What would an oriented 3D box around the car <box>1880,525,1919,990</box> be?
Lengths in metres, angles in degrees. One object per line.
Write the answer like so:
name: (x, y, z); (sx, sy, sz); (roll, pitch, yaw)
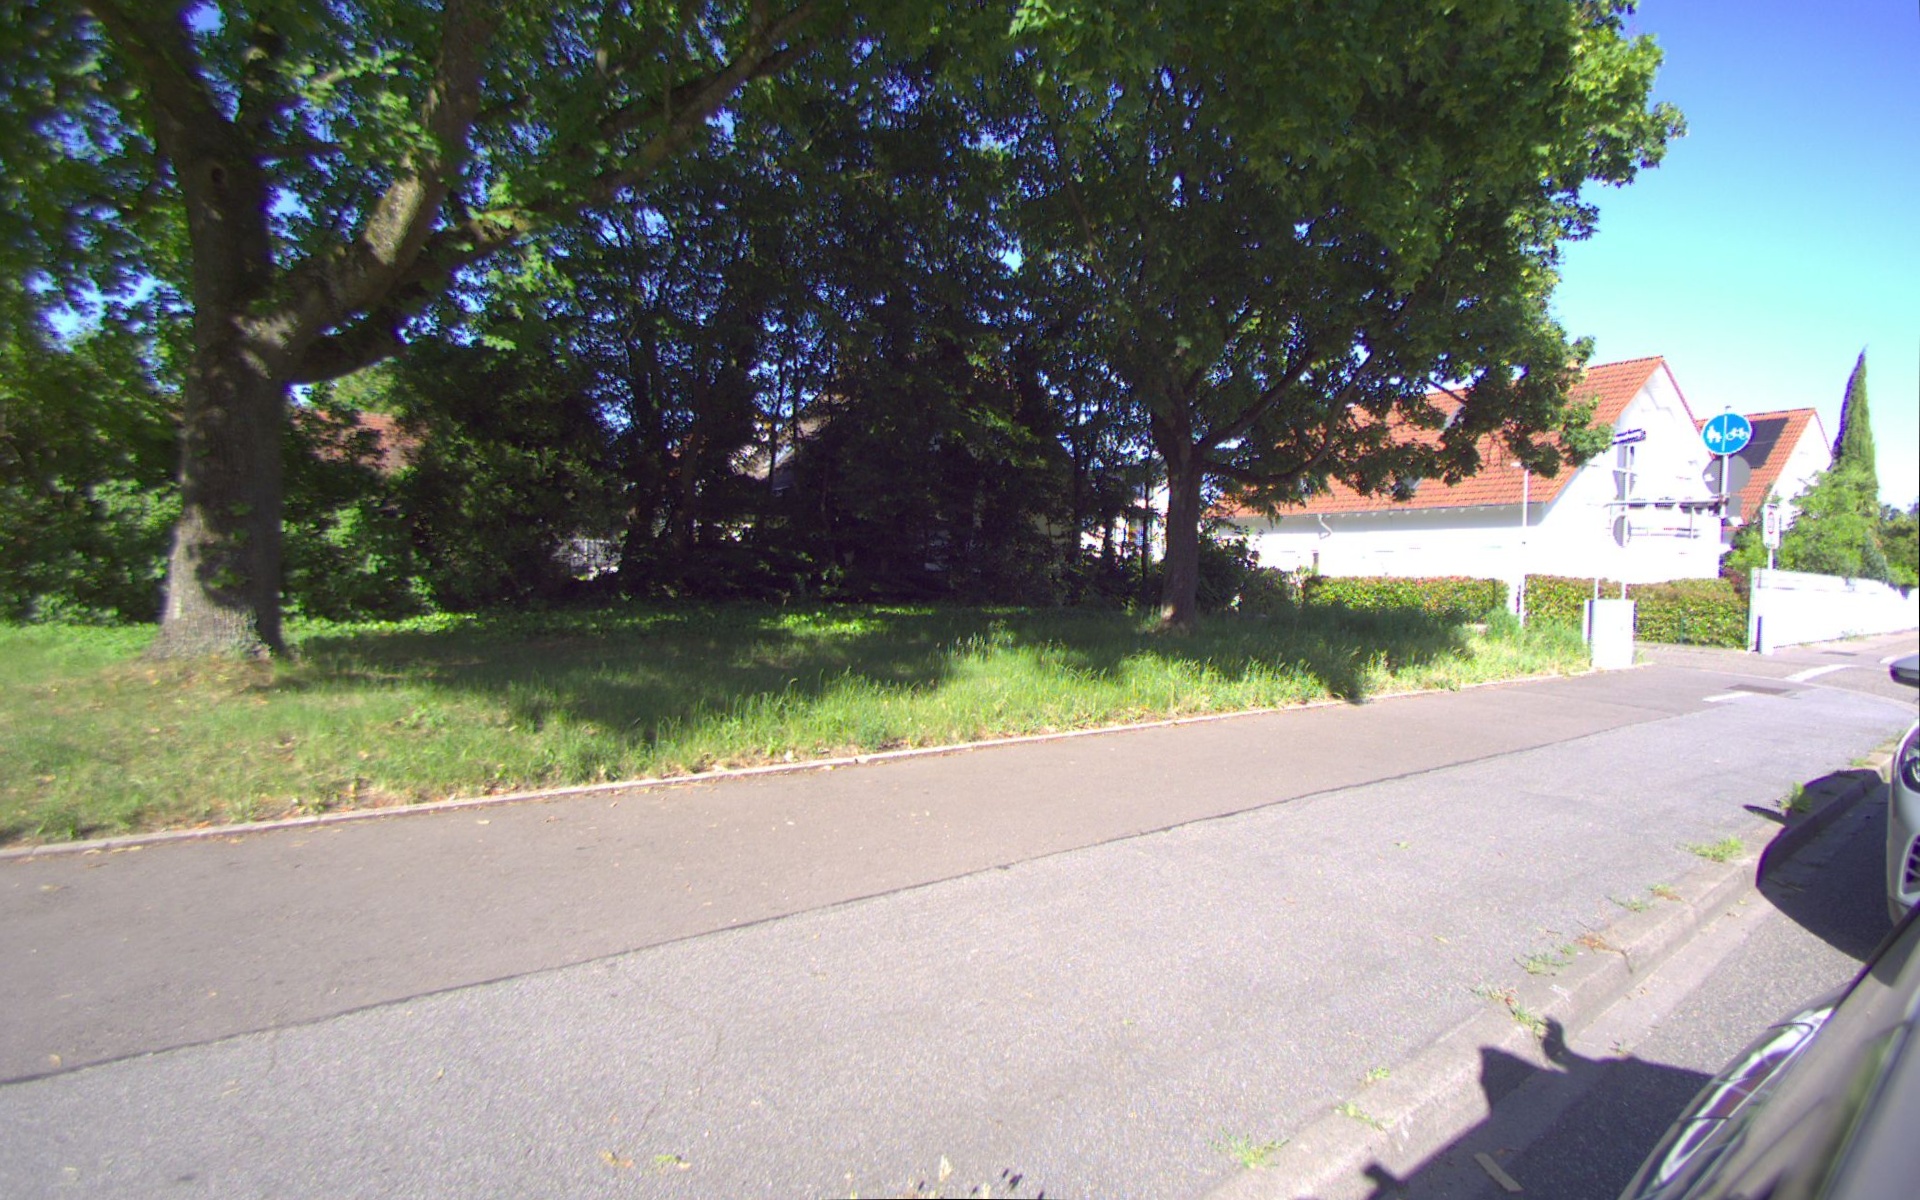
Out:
car: (5.638, 0.600, 4.434); (4.133, 1.710, 1.857); (0, 3, -41)
